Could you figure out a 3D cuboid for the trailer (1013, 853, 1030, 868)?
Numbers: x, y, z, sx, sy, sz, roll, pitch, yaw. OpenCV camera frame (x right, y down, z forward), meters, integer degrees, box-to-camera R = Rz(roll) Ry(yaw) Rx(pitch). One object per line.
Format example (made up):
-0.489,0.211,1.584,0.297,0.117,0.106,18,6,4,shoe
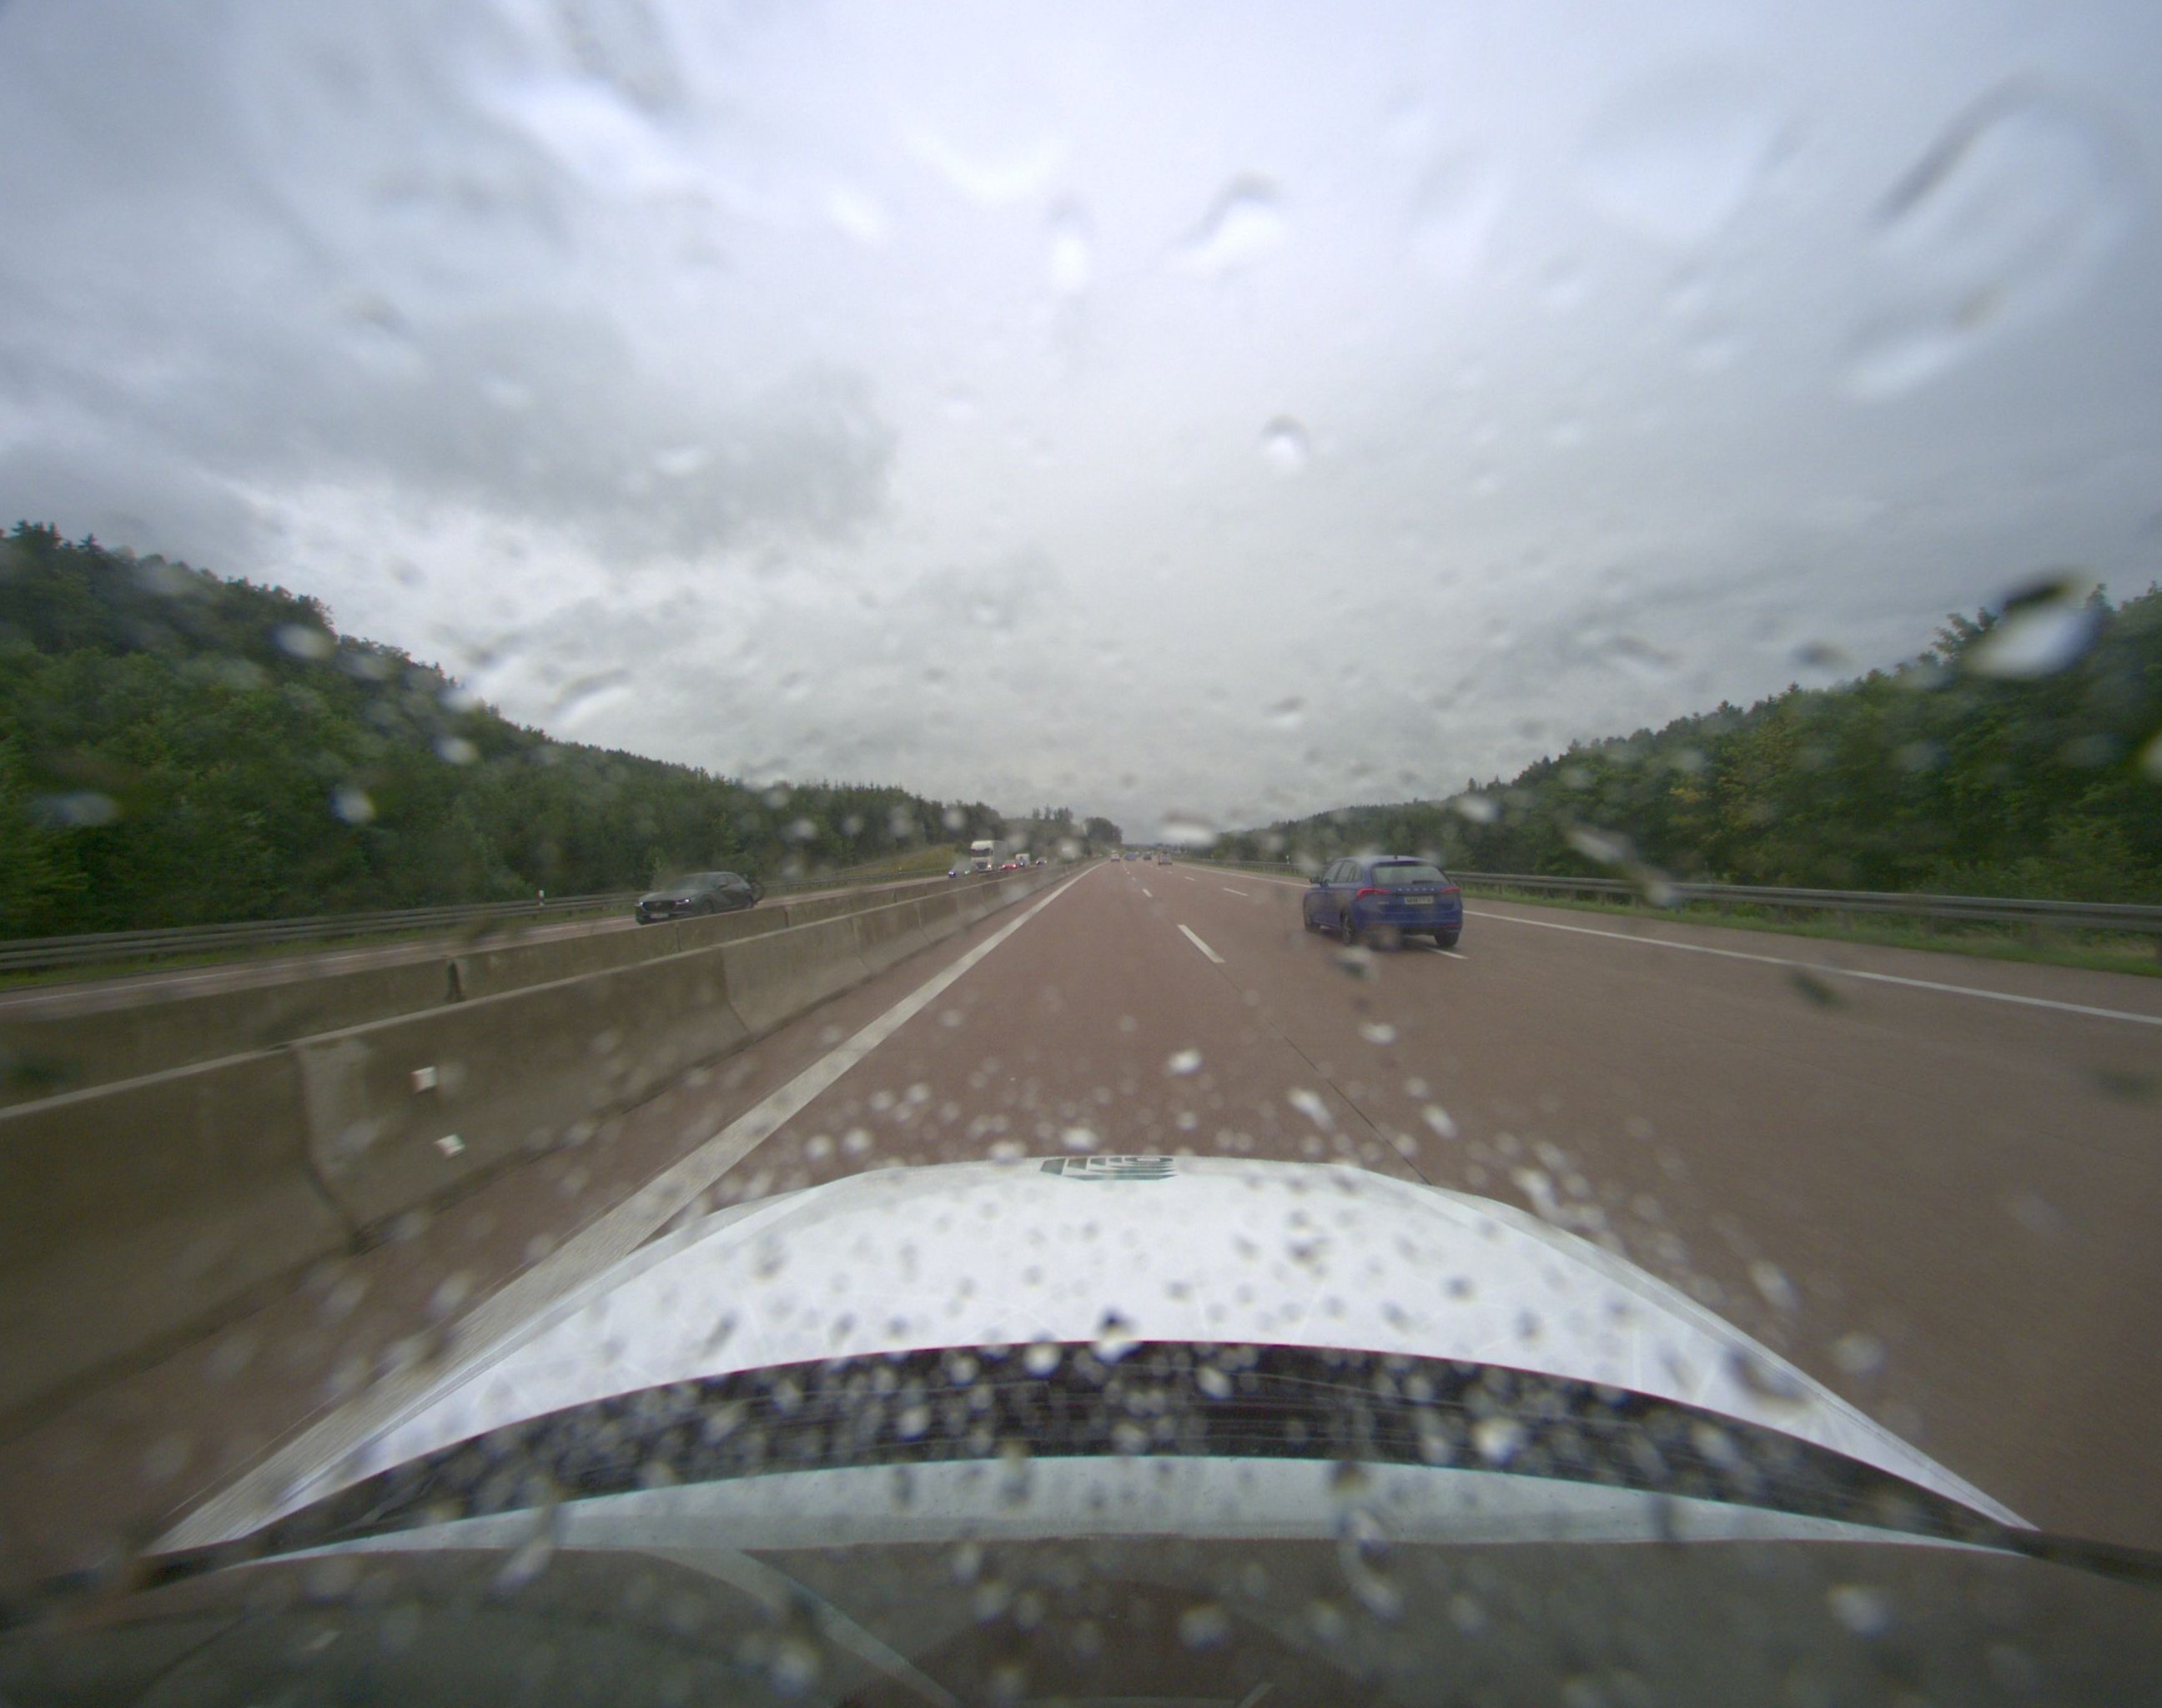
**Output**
-10.551,1.122,143.997,2.268,2.411,5.440,-4,0,2,trailer

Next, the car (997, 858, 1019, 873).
-8.442,1.382,94.577,1.986,1.545,4.281,-3,-1,2,car

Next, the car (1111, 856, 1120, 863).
7.210,1.112,170.612,1.867,1.444,4.877,0,-1,1,car

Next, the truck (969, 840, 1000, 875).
-12.090,0.537,102.755,2.758,4.176,6.003,-3,-1,2,truck

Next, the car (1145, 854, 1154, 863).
16.877,1.135,200.034,1.987,2.014,3.999,0,-1,0,car

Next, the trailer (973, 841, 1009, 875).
-11.863,0.650,108.680,2.729,4.140,12.760,-3,-1,2,trailer

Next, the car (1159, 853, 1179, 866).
12.231,0.792,113.861,2.315,1.750,4.876,0,-1,0,car

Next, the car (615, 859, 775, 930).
-11.254,1.133,24.354,2.275,1.861,5.721,0,-1,-3,car

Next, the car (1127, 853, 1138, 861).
11.882,0.603,187.390,2.315,1.750,4.876,0,-1,0,car

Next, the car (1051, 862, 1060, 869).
-6.588,2.980,208.926,1.985,1.575,4.527,-2,-1,3,car

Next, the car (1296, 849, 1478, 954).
5.106,0.755,14.235,1.764,1.564,4.148,0,-1,2,car

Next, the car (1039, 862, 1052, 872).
-6.019,2.172,140.248,1.685,1.557,5.680,-3,0,2,car
